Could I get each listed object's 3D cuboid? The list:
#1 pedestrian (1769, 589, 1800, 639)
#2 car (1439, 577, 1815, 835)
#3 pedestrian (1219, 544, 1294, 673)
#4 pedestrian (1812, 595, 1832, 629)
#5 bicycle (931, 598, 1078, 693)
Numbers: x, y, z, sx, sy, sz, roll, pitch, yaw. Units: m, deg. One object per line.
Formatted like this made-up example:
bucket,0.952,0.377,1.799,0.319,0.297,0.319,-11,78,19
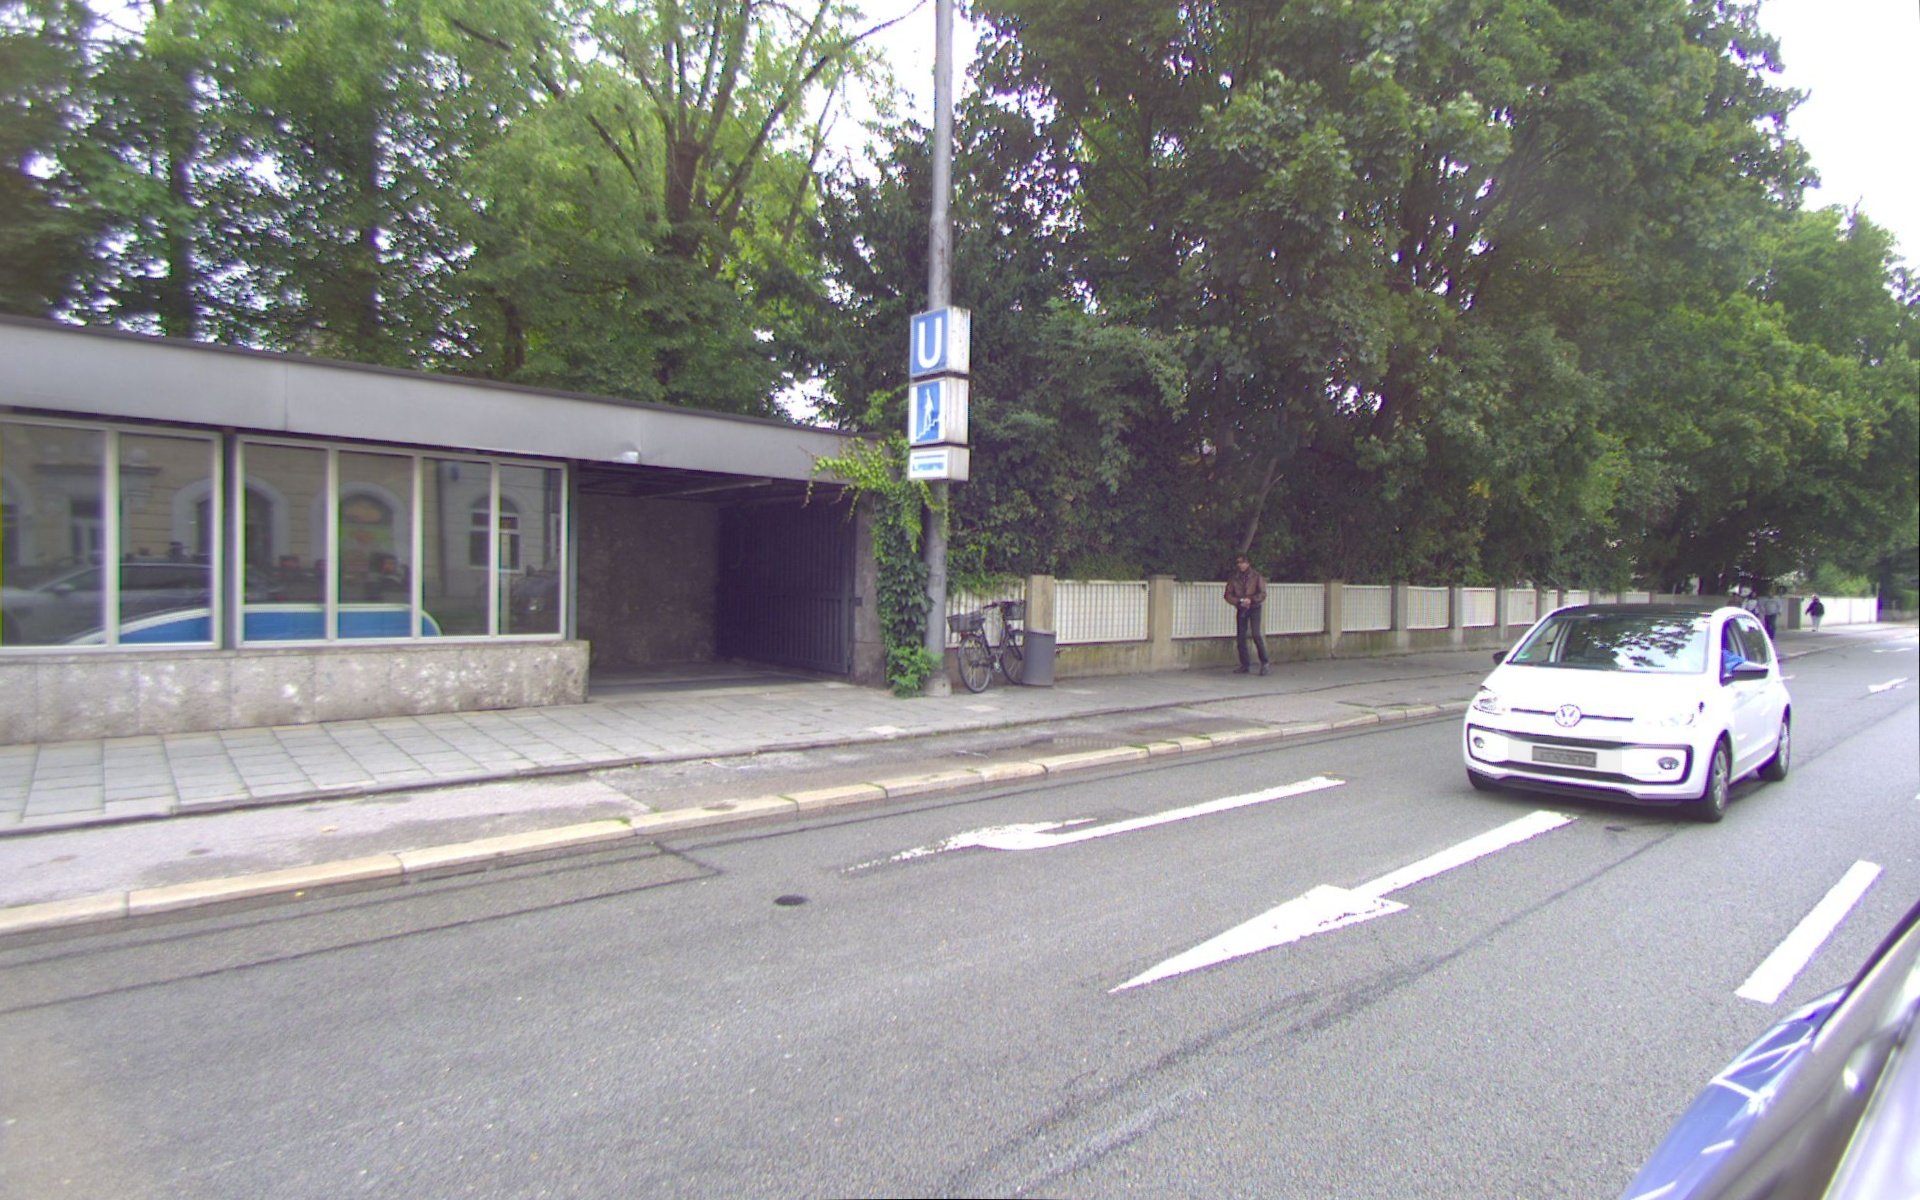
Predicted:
pedestrian,29.437,0.502,36.140,0.753,1.726,0.667,0,3,-42
car,5.417,0.642,8.067,3.524,1.581,1.645,0,1,-42
pedestrian,4.670,0.114,15.955,0.788,1.966,0.779,0,2,-40
pedestrian,41.000,0.572,48.135,0.716,1.600,0.529,0,3,-42
bicycle,0.602,0.539,12.915,1.991,1.104,0.623,0,1,-41
